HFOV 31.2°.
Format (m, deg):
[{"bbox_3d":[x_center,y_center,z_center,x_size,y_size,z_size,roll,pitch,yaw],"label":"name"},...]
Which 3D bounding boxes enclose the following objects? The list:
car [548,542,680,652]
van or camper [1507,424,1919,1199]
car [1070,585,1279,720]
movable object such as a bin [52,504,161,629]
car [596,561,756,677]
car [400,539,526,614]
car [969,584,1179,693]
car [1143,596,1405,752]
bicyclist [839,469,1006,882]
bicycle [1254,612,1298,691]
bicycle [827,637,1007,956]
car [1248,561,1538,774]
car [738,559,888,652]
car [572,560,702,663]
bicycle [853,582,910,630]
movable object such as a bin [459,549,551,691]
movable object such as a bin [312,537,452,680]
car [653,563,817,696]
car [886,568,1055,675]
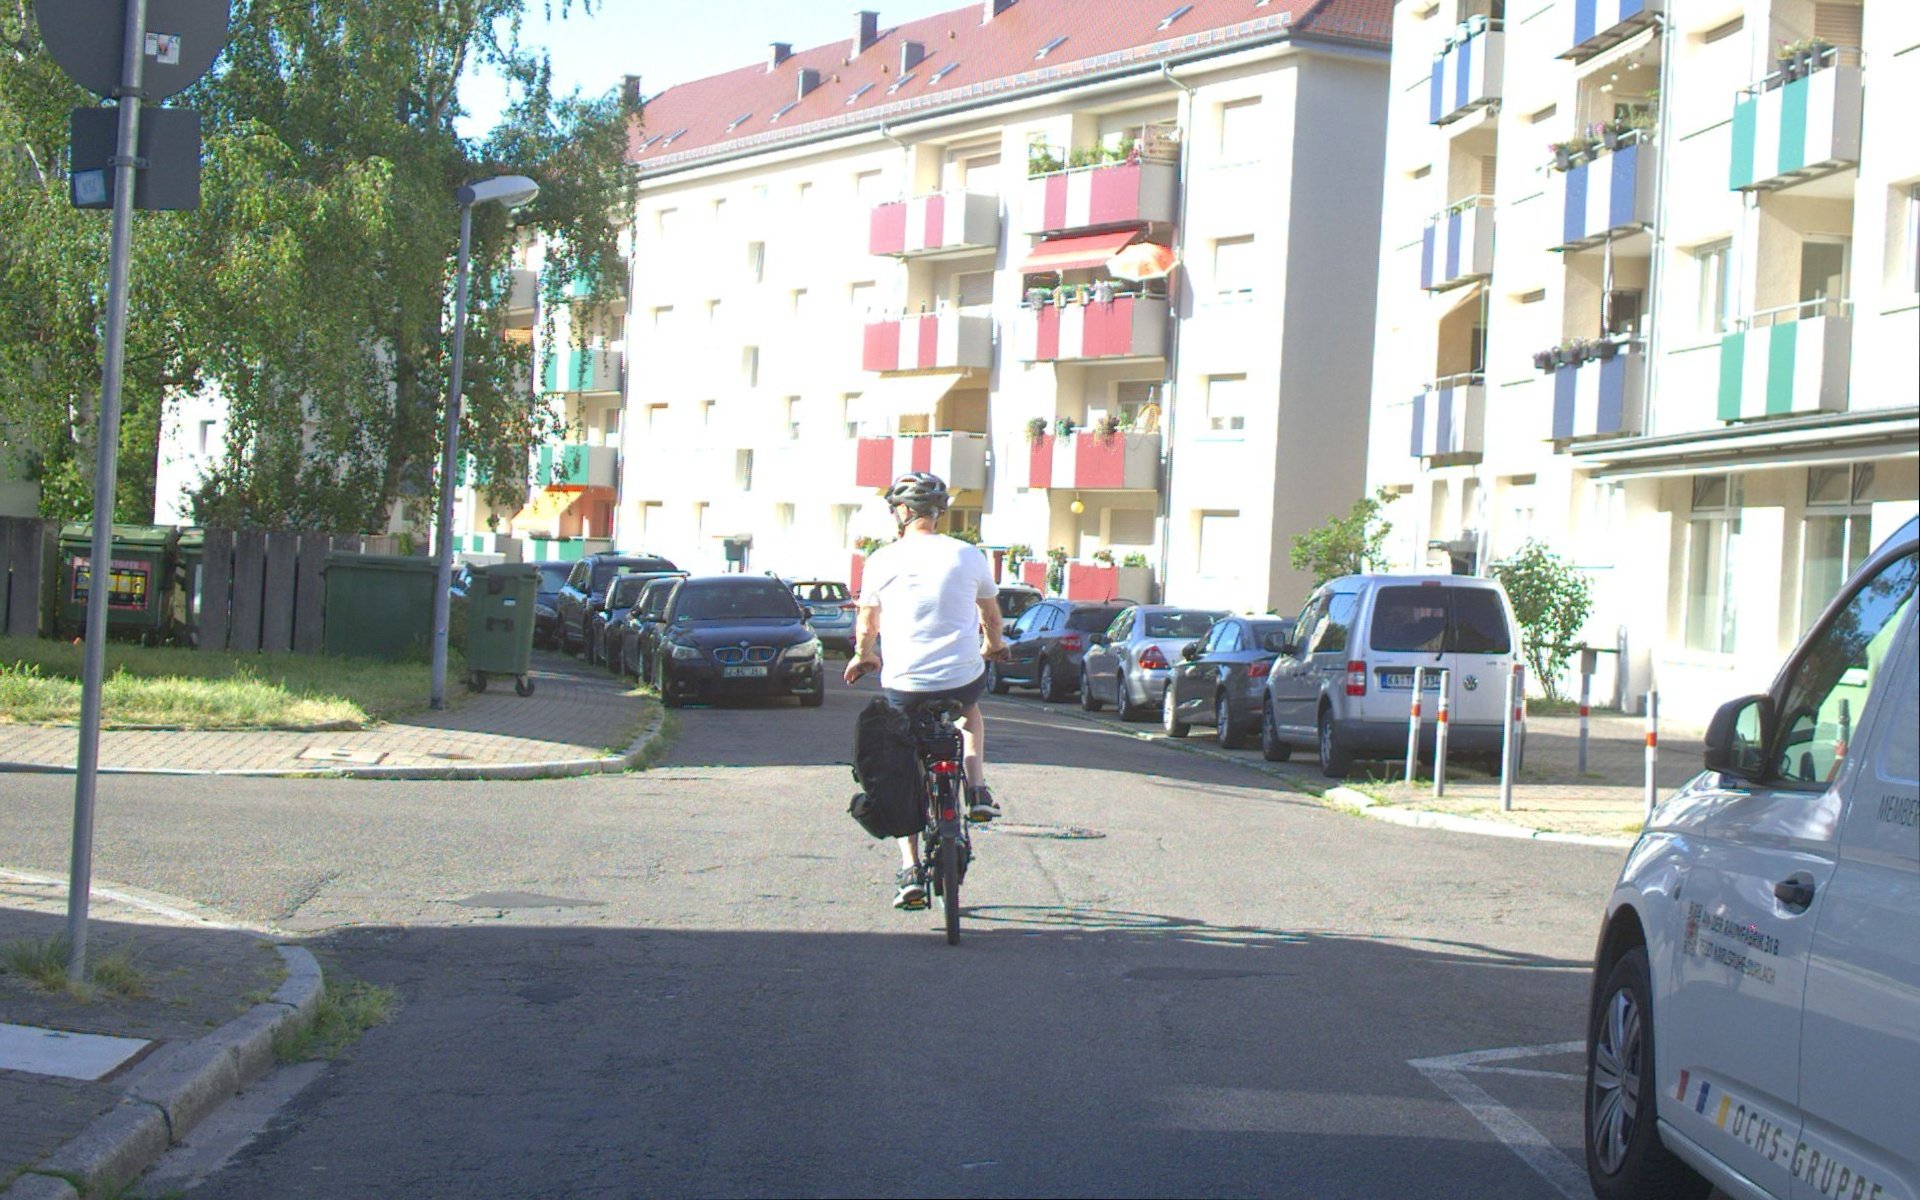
[{"bbox_3d":[-5.672,-0.077,55.976,1.555,1.708,4.339,0,1,-14],"label":"car"},{"bbox_3d":[2.452,0.664,6.447,1.792,1.741,4.735,7,1,-1],"label":"van or camper"},{"bbox_3d":[2.639,0.614,43.363,1.677,1.442,4.725,3,1,-8],"label":"car"},{"bbox_3d":[-10.126,-0.400,40.823,1.060,1.430,1.003,2,1,-4],"label":"movable object such as a bin"},{"bbox_3d":[-3.771,0.220,45.118,1.677,1.437,4.281,0,1,-10],"label":"car"},{"bbox_3d":[-10.270,-0.504,70.831,1.693,1.384,4.158,3,1,-20],"label":"car"},{"bbox_3d":[1.577,0.522,49.319,1.693,1.427,4.689,2,0,-15],"label":"car"},{"bbox_3d":[3.330,0.754,37.324,1.677,1.402,4.547,3,1,-9],"label":"car"},{"bbox_3d":[-0.140,0.276,13.761,0.596,1.573,0.907,2,3,1],"label":"bicyclist"},{"bbox_3d":[5.040,0.808,54.875,0.514,1.198,1.761,2,1,0],"label":"bicycle"},{"bbox_3d":[-0.148,0.742,13.712,0.627,1.111,1.816,2,1,1],"label":"bicycle"},{"bbox_3d":[3.918,0.565,31.793,1.746,1.818,4.132,1,1,-6],"label":"car"},{"bbox_3d":[-2.958,0.088,68.365,1.765,1.630,4.043,1,2,-20],"label":"car"},{"bbox_3d":[-4.732,0.140,50.003,1.555,1.437,3.969,0,1,-10],"label":"car"},{"bbox_3d":[-1.778,0.135,77.664,0.617,0.975,1.896,0,3,-23],"label":"bicycle"},{"bbox_3d":[-4.682,0.196,35.440,0.775,1.388,1.417,3,0,-4],"label":"movable object such as a bin"},{"bbox_3d":[-5.985,0.085,35.672,1.220,1.375,0.767,4,0,1],"label":"movable object such as a bin"},{"bbox_3d":[-2.670,0.300,39.963,1.677,1.448,4.621,0,1,-6],"label":"car"},{"bbox_3d":[0.119,0.364,56.269,1.693,1.650,4.391,2,-1,-14],"label":"car"}]
